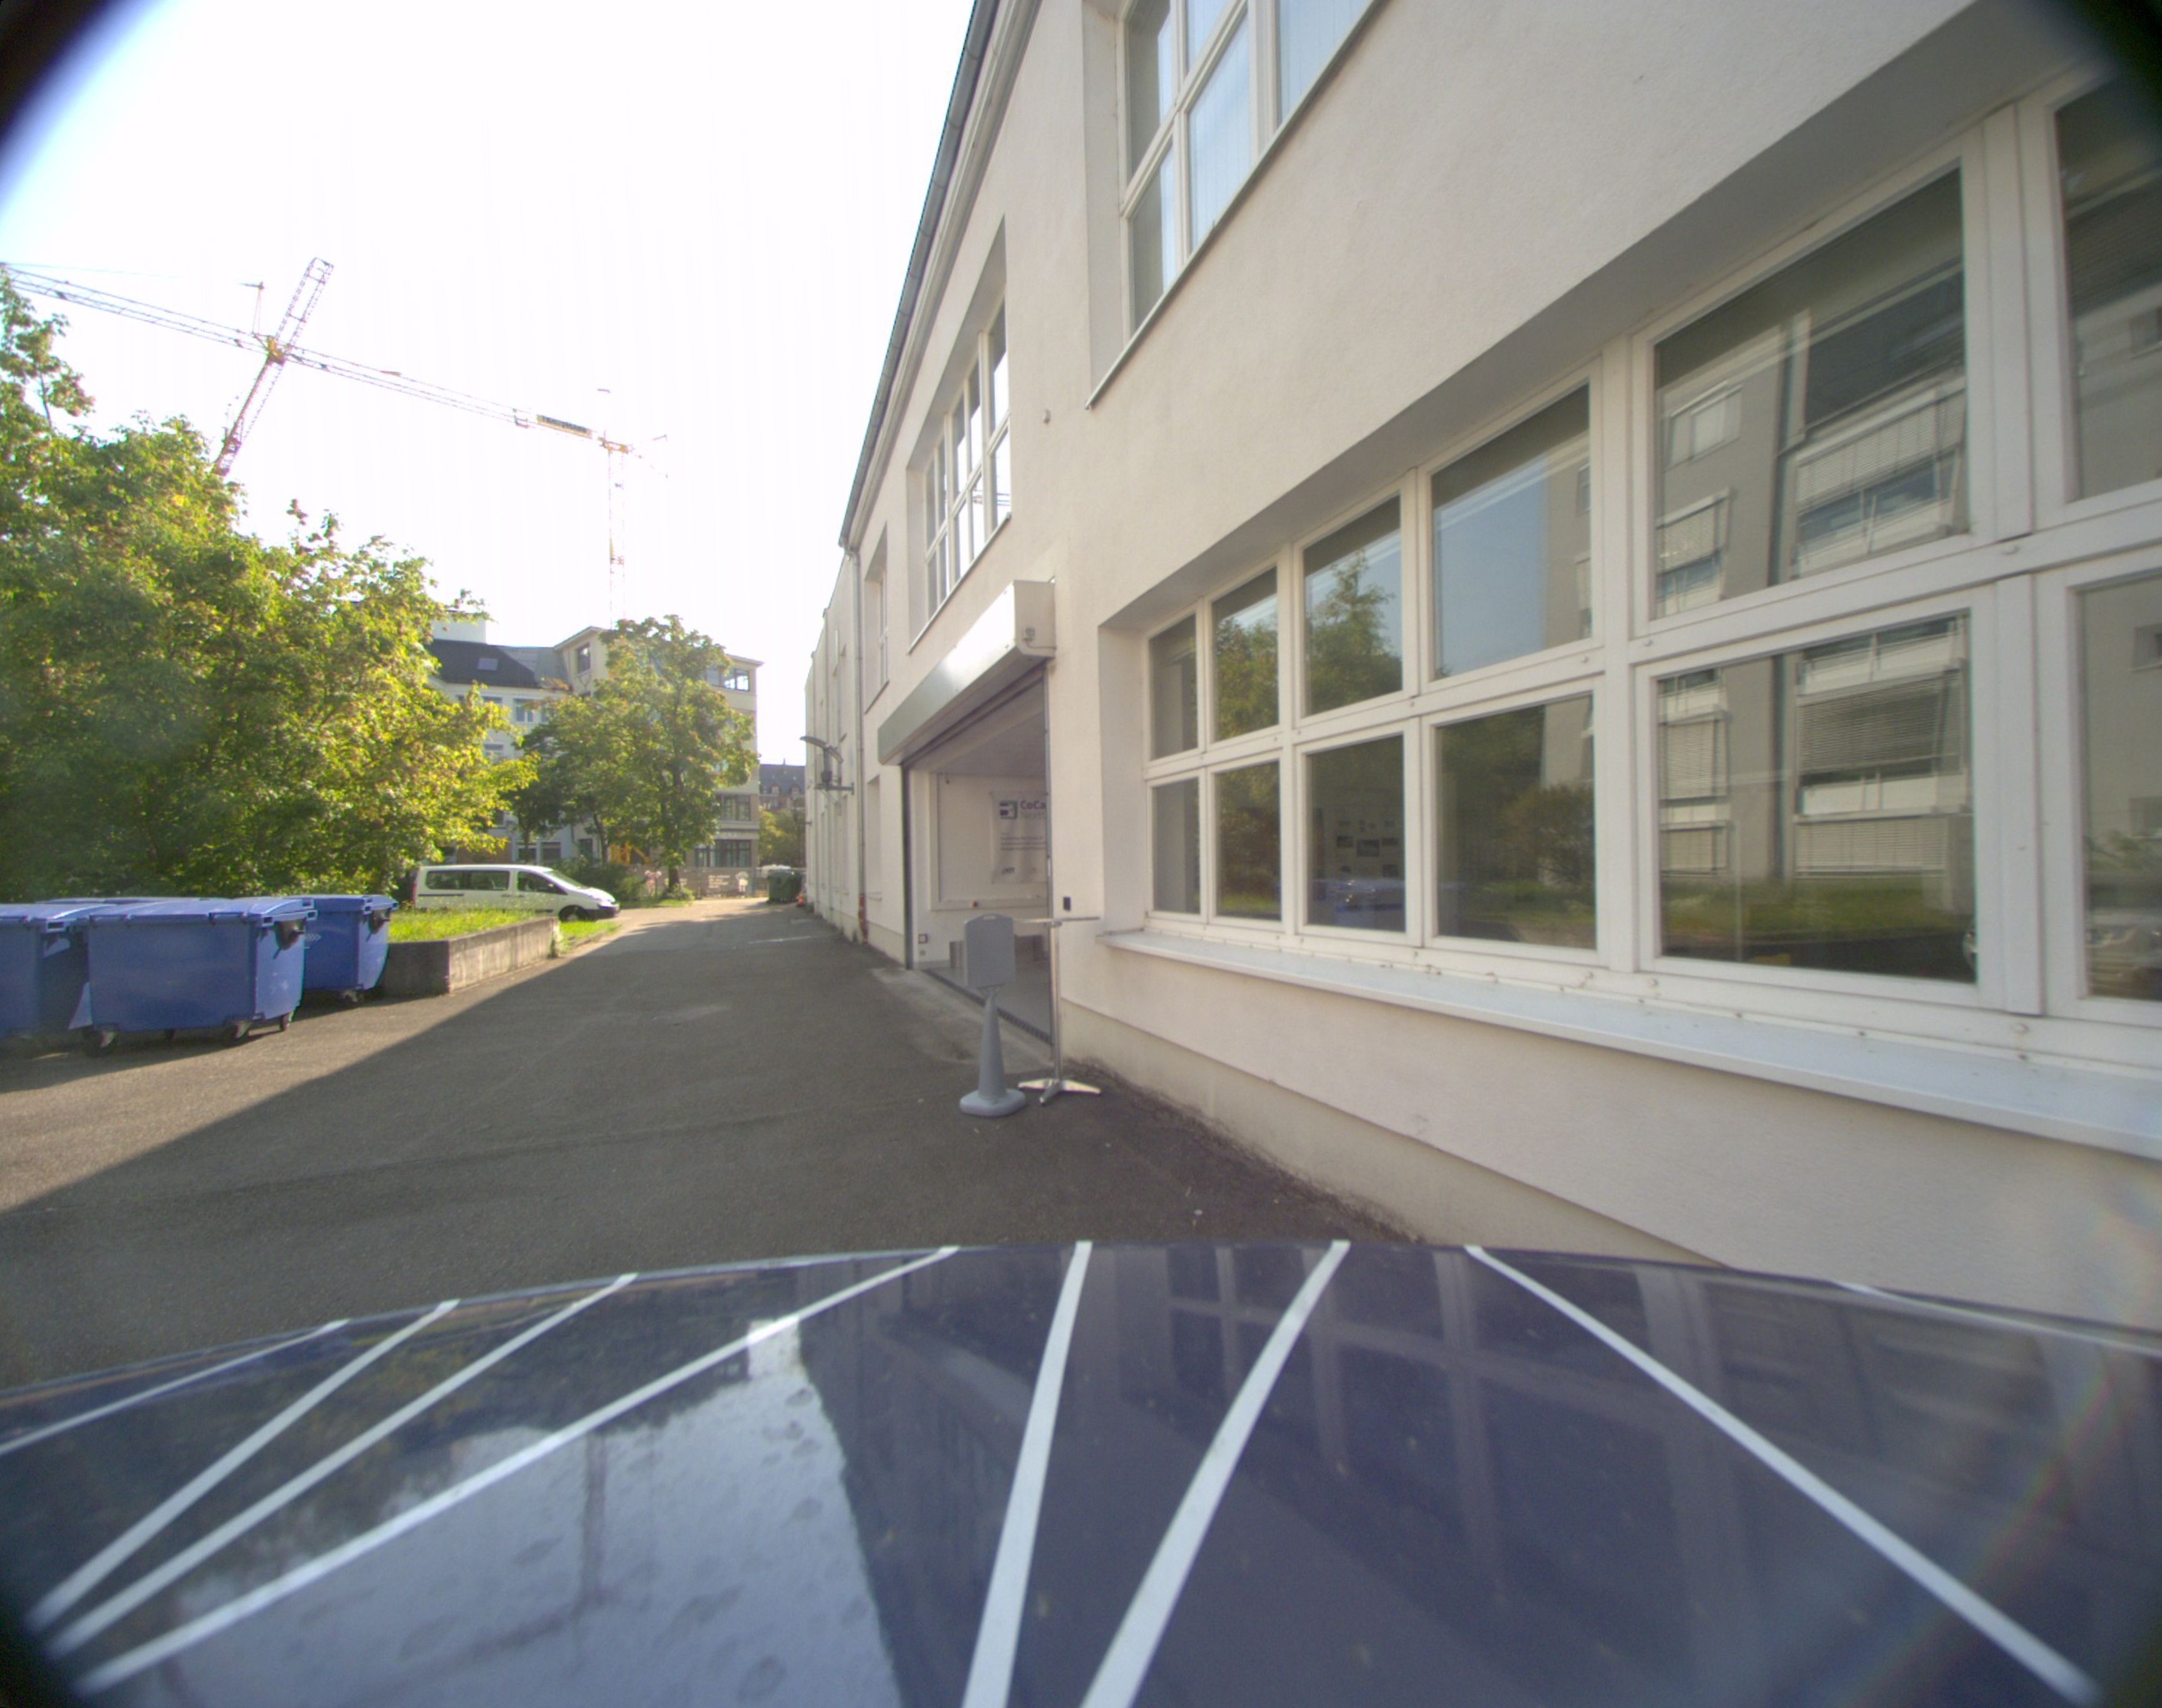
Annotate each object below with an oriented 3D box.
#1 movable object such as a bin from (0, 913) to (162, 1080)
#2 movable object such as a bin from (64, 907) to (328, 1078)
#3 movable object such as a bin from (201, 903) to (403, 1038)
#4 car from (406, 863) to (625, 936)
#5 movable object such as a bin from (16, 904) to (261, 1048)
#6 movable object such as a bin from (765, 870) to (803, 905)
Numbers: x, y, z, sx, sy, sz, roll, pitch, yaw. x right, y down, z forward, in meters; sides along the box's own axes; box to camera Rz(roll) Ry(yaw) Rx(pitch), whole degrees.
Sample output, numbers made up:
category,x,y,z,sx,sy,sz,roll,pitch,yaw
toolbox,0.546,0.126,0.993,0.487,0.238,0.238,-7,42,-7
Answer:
category,x,y,z,sx,sy,sz,roll,pitch,yaw
movable object such as a bin,-9.645,1.257,6.852,1.259,1.319,1.273,-1,0,-22
movable object such as a bin,-8.389,1.242,7.326,1.216,1.343,1.272,-1,0,-24
movable object such as a bin,-8.913,1.273,8.802,1.202,1.319,1.273,-1,0,-22
car,-16.412,1.259,22.385,4.798,1.920,1.906,0,-1,-21
movable object such as a bin,-10.204,1.258,8.334,1.202,1.319,1.273,-1,0,-22
movable object such as a bin,-13.266,1.473,33.972,1.527,1.457,1.273,-1,0,-22
